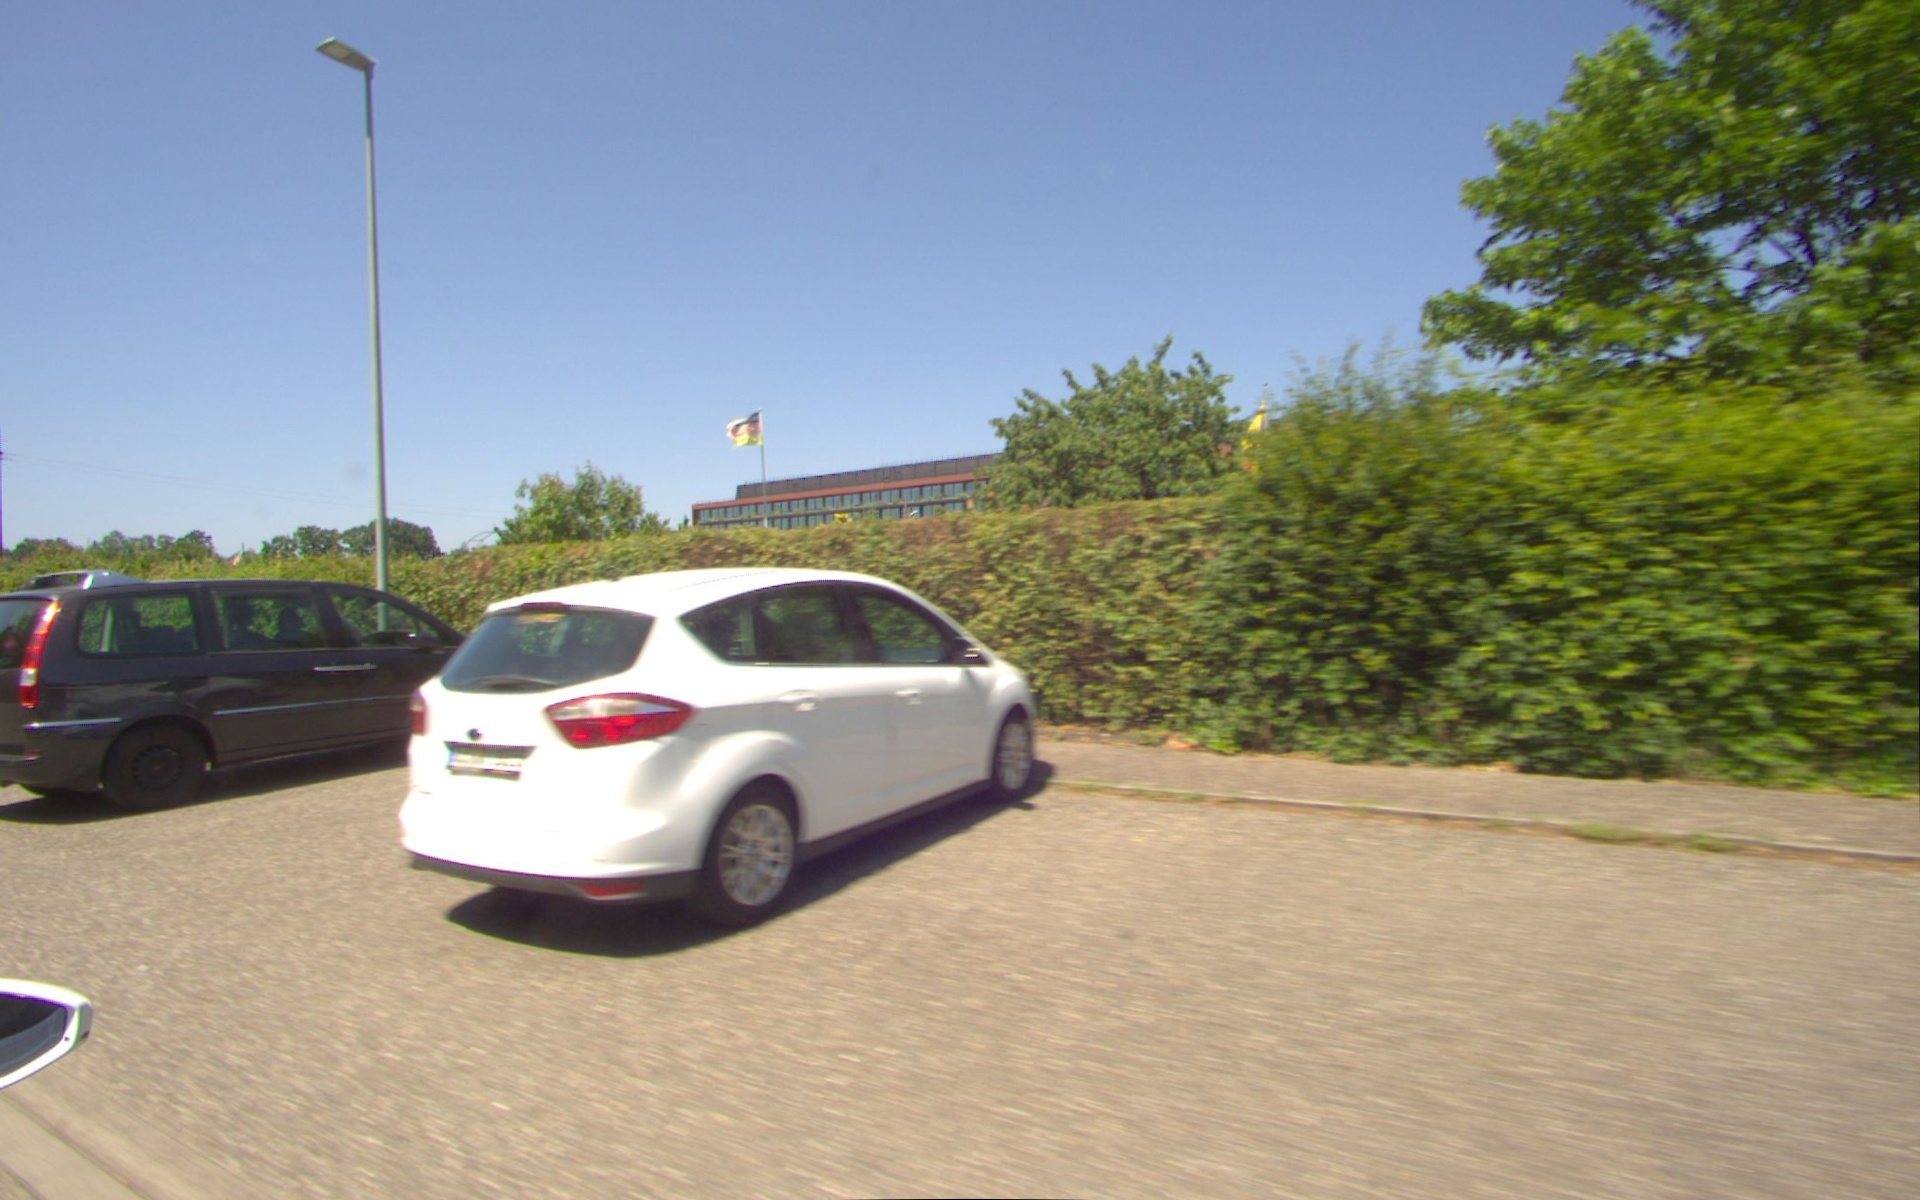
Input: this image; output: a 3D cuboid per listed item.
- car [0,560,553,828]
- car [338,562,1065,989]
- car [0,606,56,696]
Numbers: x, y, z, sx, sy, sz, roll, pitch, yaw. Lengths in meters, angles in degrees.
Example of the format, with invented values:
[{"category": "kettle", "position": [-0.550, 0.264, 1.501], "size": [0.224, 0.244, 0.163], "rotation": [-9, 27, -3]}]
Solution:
[{"category": "car", "position": [-6.269, 0.590, 9.217], "size": [1.922, 1.829, 4.448], "rotation": [-1, 1, 27]}, {"category": "car", "position": [-1.022, 0.596, 6.021], "size": [1.739, 1.600, 4.268], "rotation": [0, 2, 29]}, {"category": "car", "position": [-17.172, 0.906, 15.695], "size": [1.807, 1.454, 4.048], "rotation": [0, 2, 28]}]
